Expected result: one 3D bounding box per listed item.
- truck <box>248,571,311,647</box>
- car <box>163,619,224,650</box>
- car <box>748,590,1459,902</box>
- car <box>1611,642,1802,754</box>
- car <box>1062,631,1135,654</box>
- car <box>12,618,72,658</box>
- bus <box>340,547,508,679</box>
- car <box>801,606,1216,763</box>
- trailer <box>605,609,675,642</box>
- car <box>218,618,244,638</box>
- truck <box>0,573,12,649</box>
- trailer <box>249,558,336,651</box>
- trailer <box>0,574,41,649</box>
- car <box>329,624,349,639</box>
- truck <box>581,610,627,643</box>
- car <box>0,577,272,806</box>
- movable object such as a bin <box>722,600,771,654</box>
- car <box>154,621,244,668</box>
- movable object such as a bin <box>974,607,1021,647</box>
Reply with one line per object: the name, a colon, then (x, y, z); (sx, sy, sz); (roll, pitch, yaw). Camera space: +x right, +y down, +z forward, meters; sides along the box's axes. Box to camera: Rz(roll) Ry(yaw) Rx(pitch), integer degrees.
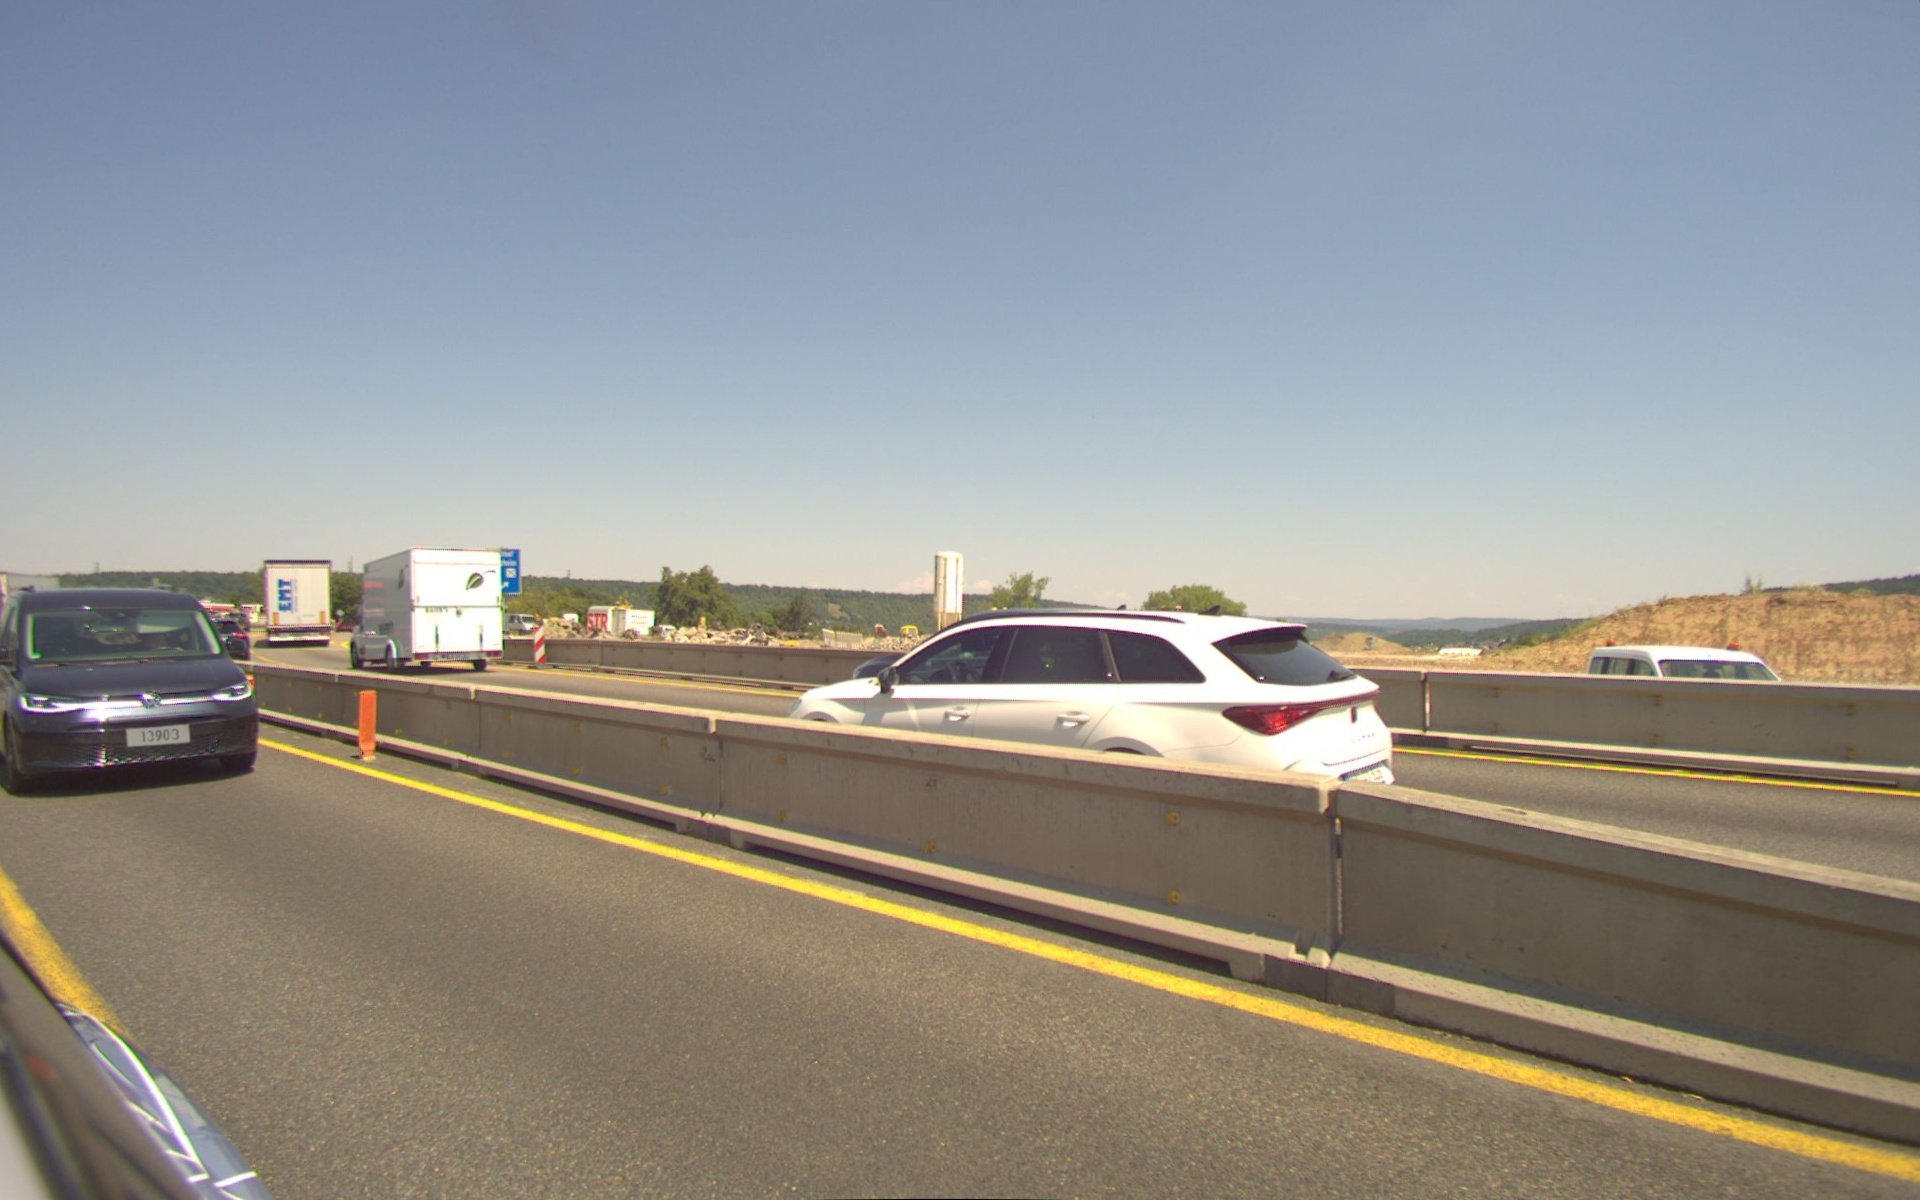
truck: (-38.649, 0.541, 57.431); (2.666, 4.093, 5.513); (1, -2, -37)
car: (-37.916, 1.680, 50.168); (1.770, 1.487, 4.792); (1, -2, -30)
car: (0.693, 0.743, 6.984); (4.632, 1.466, 1.797); (-1, -2, 41)
car: (11.339, 1.410, 15.602); (1.537, 1.466, 3.178); (-1, -1, 21)
car: (8.846, 2.690, 64.685); (4.440, 1.420, 1.596); (-1, -2, 38)
car: (-43.106, 1.757, 47.599); (1.771, 1.800, 4.008); (1, -2, -38)
bus: (-14.764, 0.387, 27.584); (2.321, 3.149, 7.237); (1, -2, -42)
car: (0.373, 0.830, 11.530); (4.646, 1.434, 1.802); (-1, -2, 42)
trailer: (-29.642, 2.370, 93.862); (2.880, 3.020, 5.509); (-1, -2, 38)
car: (-60.233, 2.322, 83.671); (1.638, 1.617, 4.407); (1, -2, -35)
truck: (-51.042, 0.555, 52.037); (2.585, 3.933, 4.946); (1, -2, -35)
trailer: (-34.332, 0.349, 51.729); (2.724, 4.146, 14.006); (1, -2, -37)
trailer: (-54.829, 0.722, 57.362); (2.659, 3.904, 12.451); (1, -2, -36)
car: (-67.150, 3.396, 109.406); (1.696, 1.640, 4.349); (1, -2, -30)
truck: (-33.992, 2.530, 96.567); (4.260, 3.066, 2.318); (-1, -2, 39)
car: (-8.609, 0.749, 10.213); (4.605, 1.803, 1.899); (-1, -1, 45)
movable object such as a bin: (-12.955, 1.621, 61.297); (1.965, 3.165, 4.291); (0, -2, -26)
car: (-25.271, 1.434, 33.561); (4.401, 1.425, 1.788); (-2, -2, 45)
movable object such as a bin: (3.048, 2.241, 83.681); (1.965, 3.165, 4.500); (0, -2, -26)
